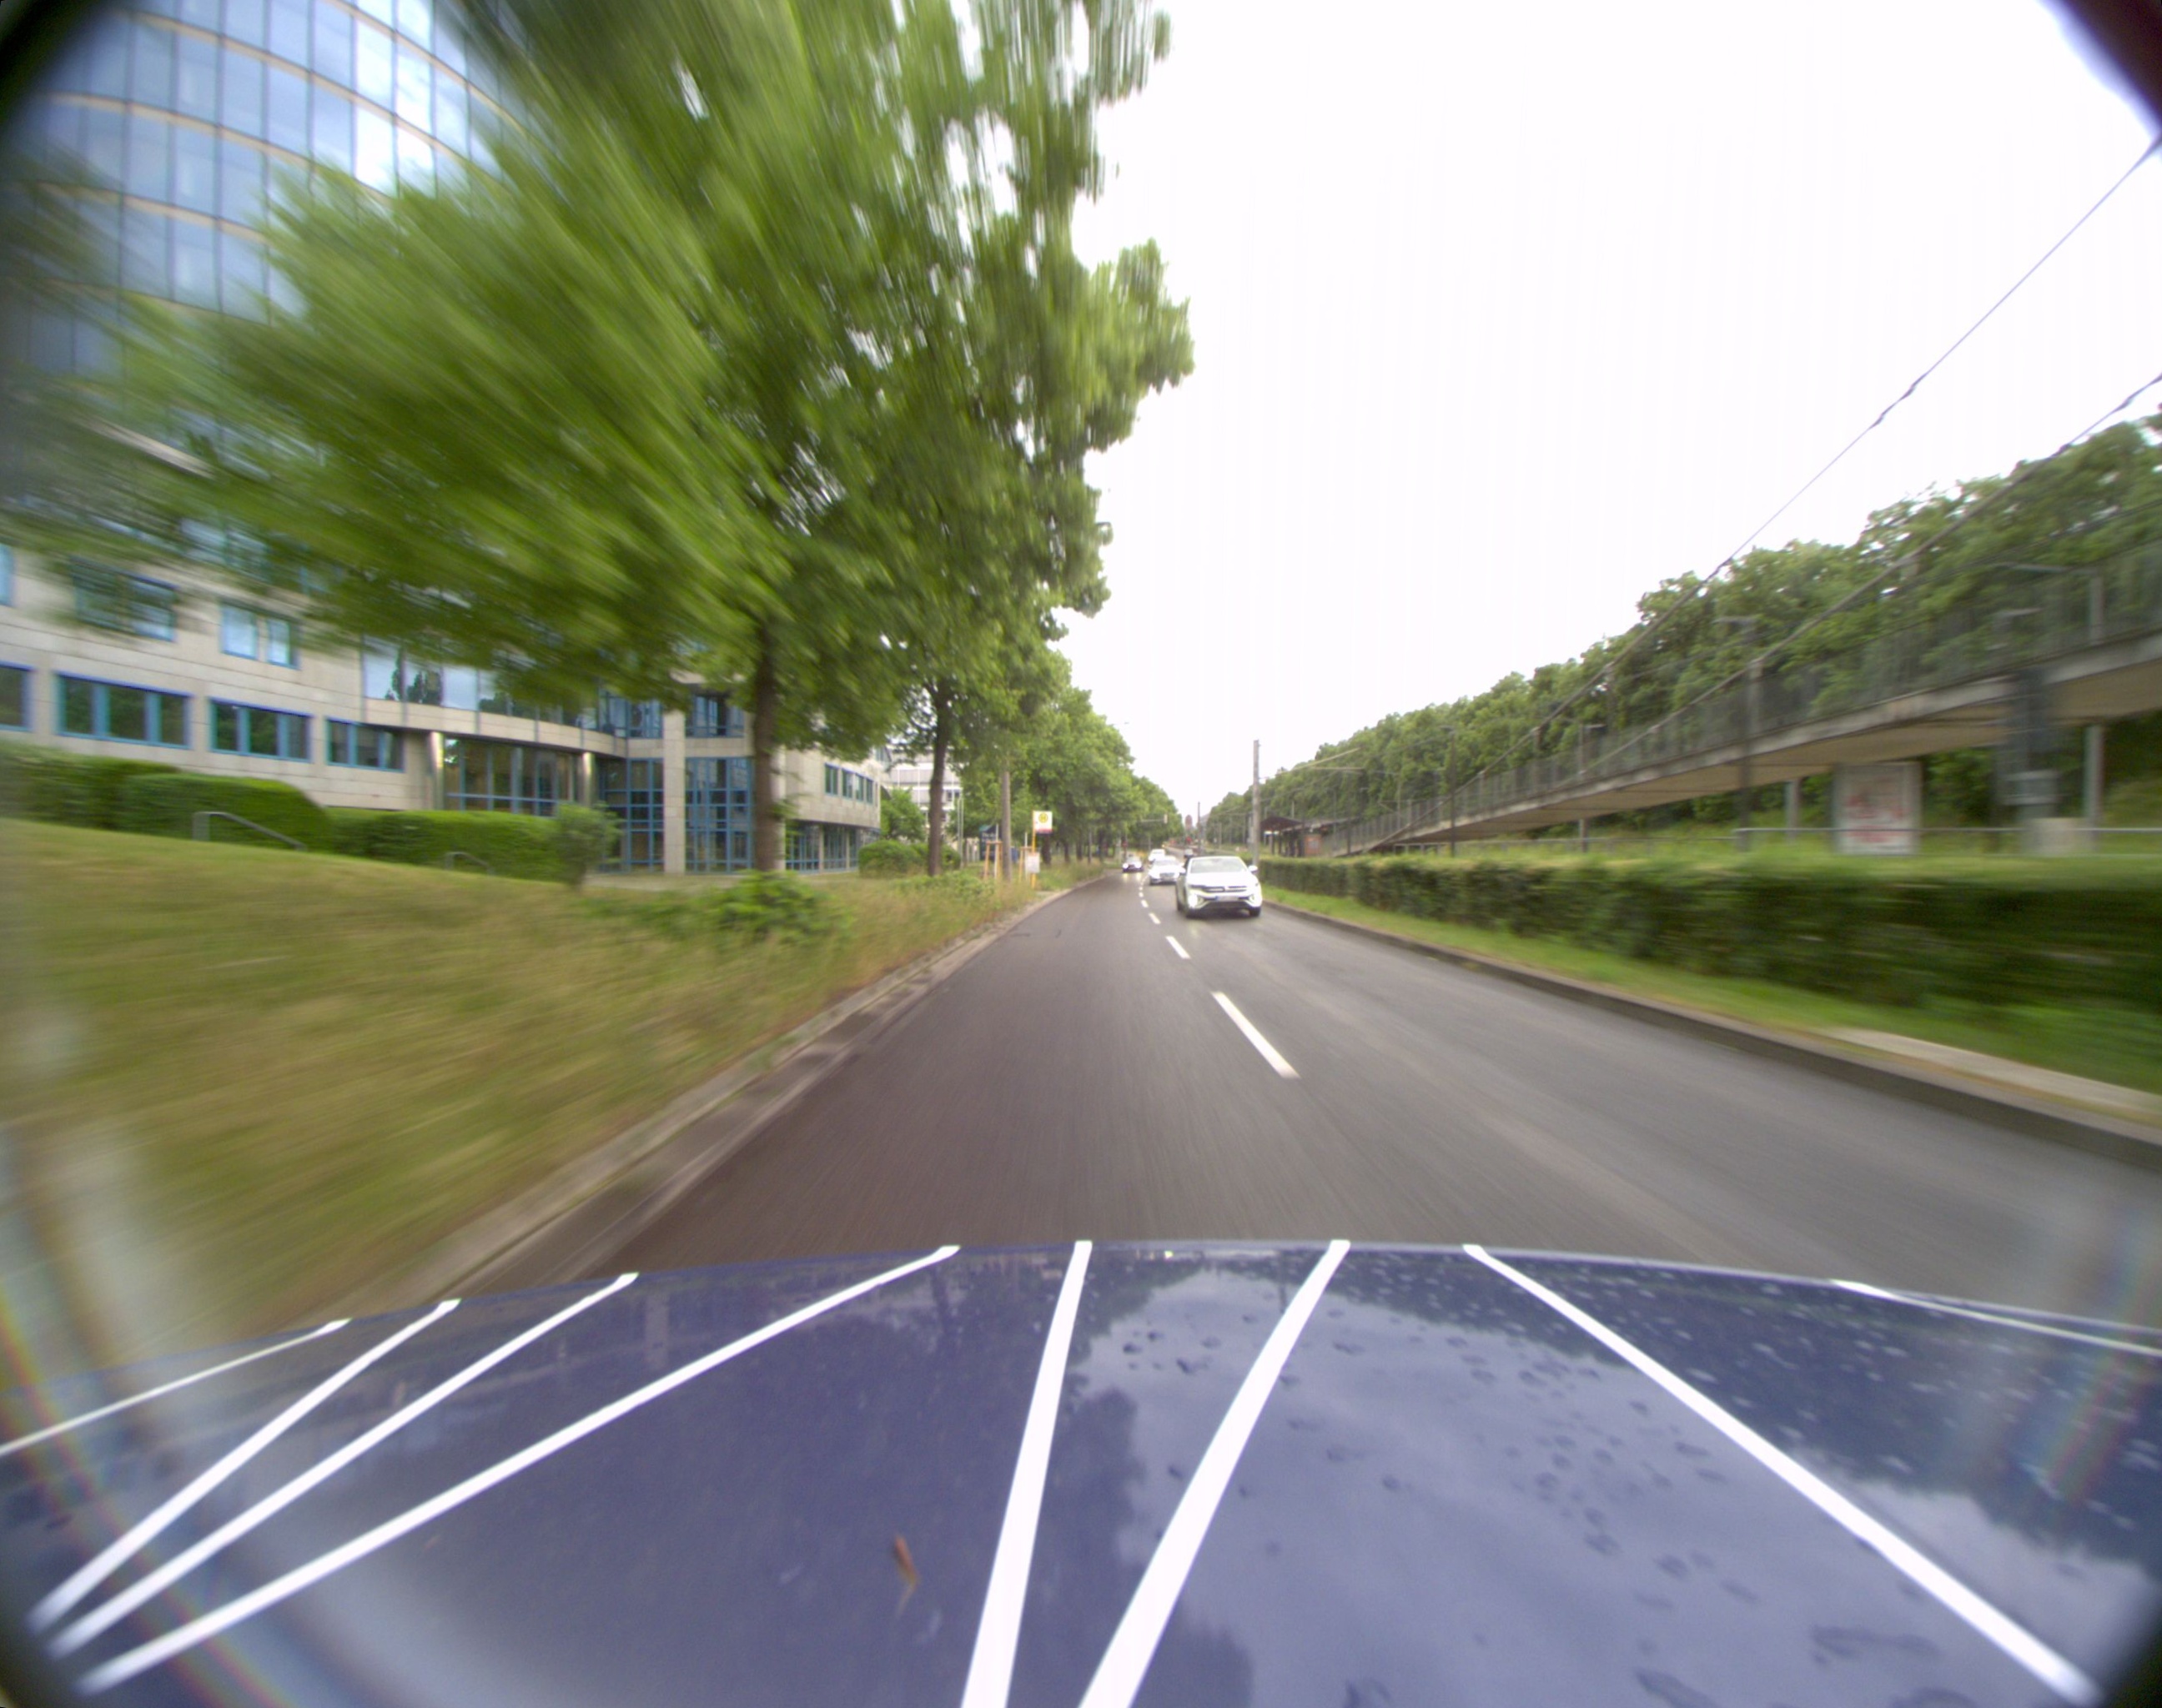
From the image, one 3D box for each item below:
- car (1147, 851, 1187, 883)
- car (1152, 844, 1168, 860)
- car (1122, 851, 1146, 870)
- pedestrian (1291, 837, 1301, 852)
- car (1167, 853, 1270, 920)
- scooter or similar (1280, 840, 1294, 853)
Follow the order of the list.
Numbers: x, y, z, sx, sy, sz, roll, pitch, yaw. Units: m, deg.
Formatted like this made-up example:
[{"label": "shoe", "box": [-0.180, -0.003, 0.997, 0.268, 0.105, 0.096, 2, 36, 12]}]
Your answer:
[{"label": "car", "box": [4.750, 0.653, 41.505, 1.959, 1.472, 4.701, -3, 1, 8]}, {"label": "car", "box": [10.446, -0.250, 100.643, 1.959, 1.914, 4.846, -3, 1, 6]}, {"label": "car", "box": [4.849, 0.586, 68.950, 1.959, 1.469, 4.700, -3, 1, 5]}, {"label": "pedestrian", "box": [19.650, -0.851, 69.545, 0.754, 1.348, 0.692, -1, 1, 6]}, {"label": "car", "box": [3.433, 0.759, 19.872, 1.960, 1.457, 4.699, -1, 1, 2]}, {"label": "scooter or similar", "box": [19.845, -0.765, 73.284, 0.380, 1.211, 1.297, -4, 2, -37]}]
